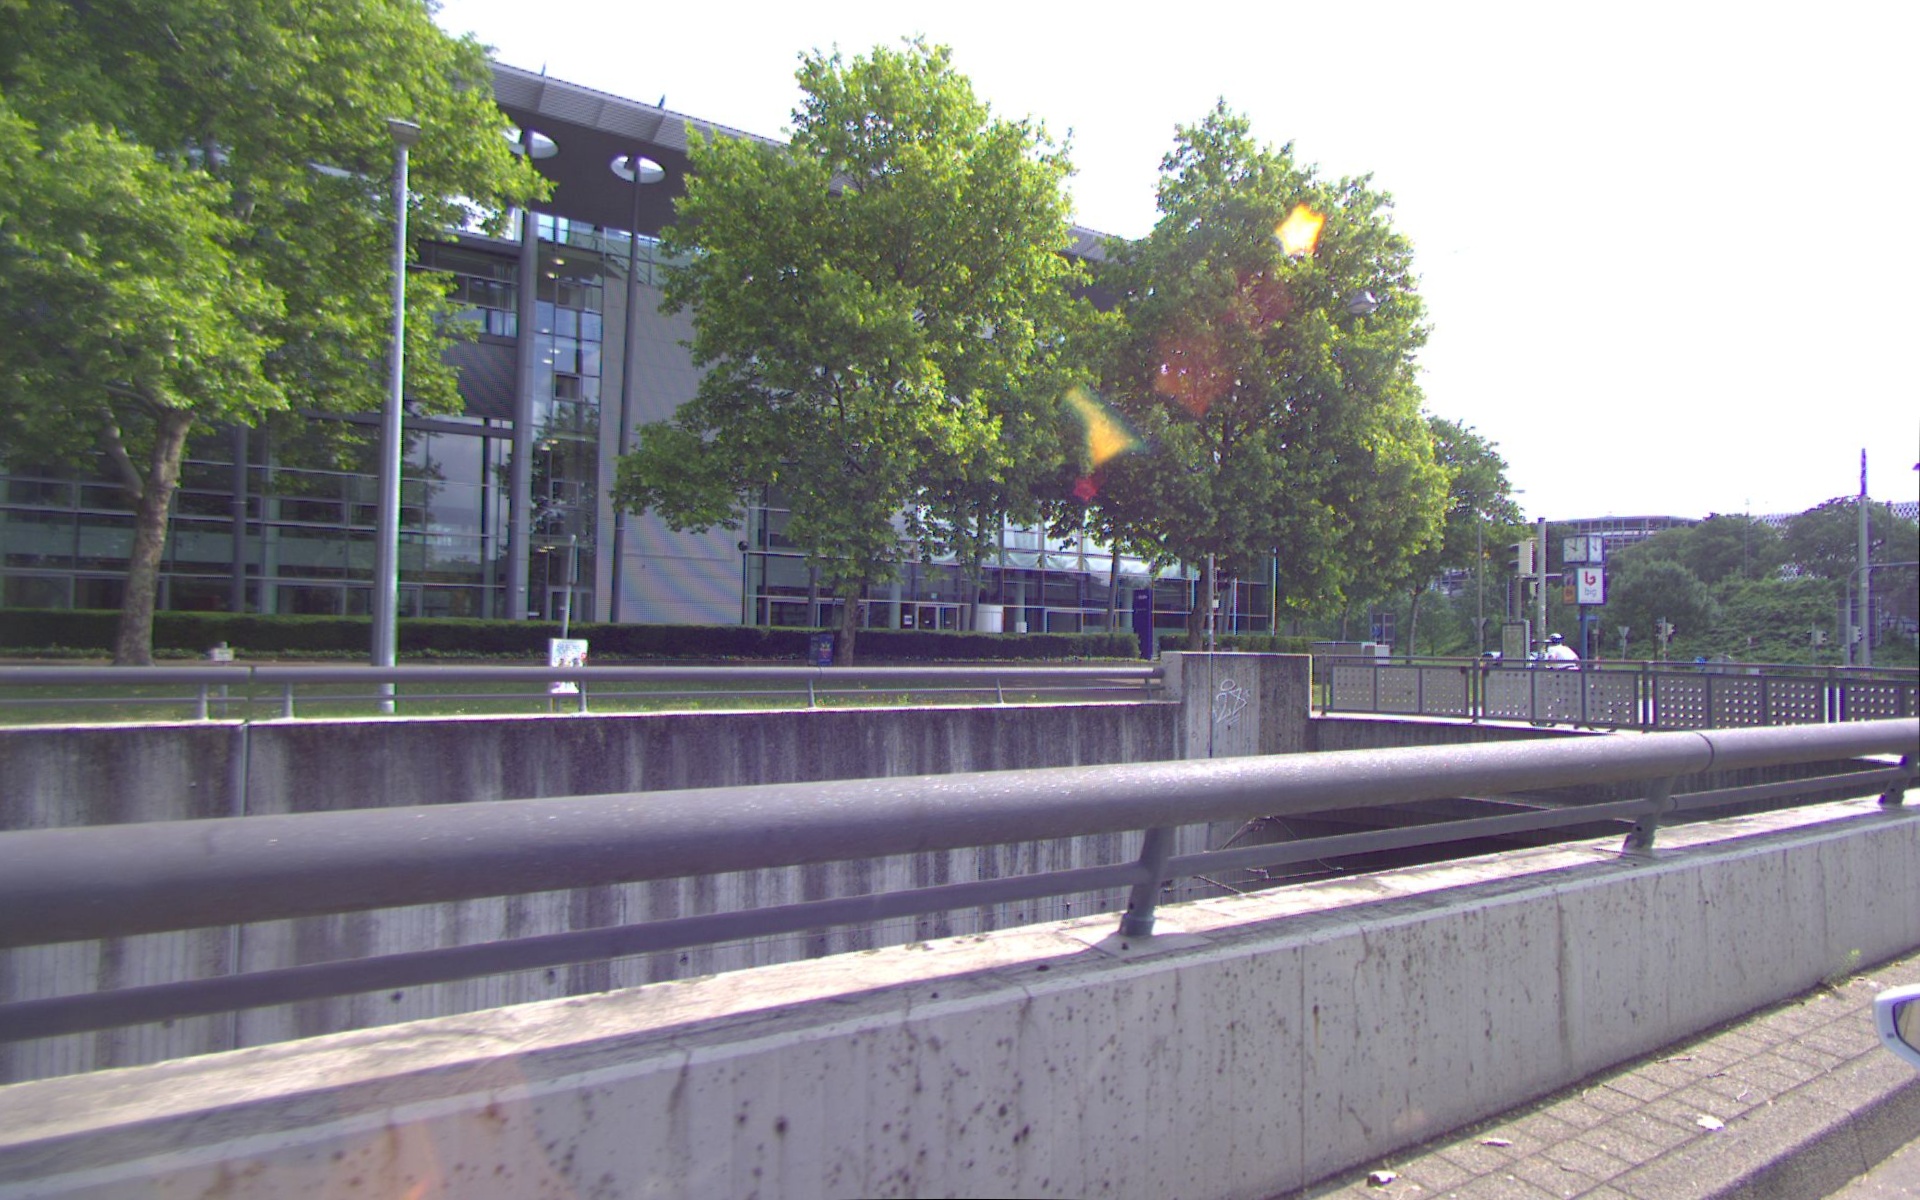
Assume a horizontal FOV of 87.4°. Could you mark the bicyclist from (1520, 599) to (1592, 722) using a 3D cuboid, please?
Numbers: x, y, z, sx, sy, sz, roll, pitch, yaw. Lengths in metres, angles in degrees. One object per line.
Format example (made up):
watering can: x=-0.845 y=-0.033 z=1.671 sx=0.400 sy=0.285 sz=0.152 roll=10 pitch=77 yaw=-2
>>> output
bicyclist: x=10.207 y=1.034 z=17.212 sx=0.598 sy=2.039 sz=0.724 roll=-1 pitch=-4 yaw=-36

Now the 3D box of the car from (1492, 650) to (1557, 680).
car: x=34.033 y=3.887 z=60.719 sx=1.833 sy=1.594 sz=4.572 roll=1 pitch=-2 yaw=7

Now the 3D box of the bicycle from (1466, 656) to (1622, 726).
bicycle: x=10.023 y=1.553 z=17.315 sx=0.878 sy=1.100 sz=2.160 roll=5 pitch=-5 yaw=-36
